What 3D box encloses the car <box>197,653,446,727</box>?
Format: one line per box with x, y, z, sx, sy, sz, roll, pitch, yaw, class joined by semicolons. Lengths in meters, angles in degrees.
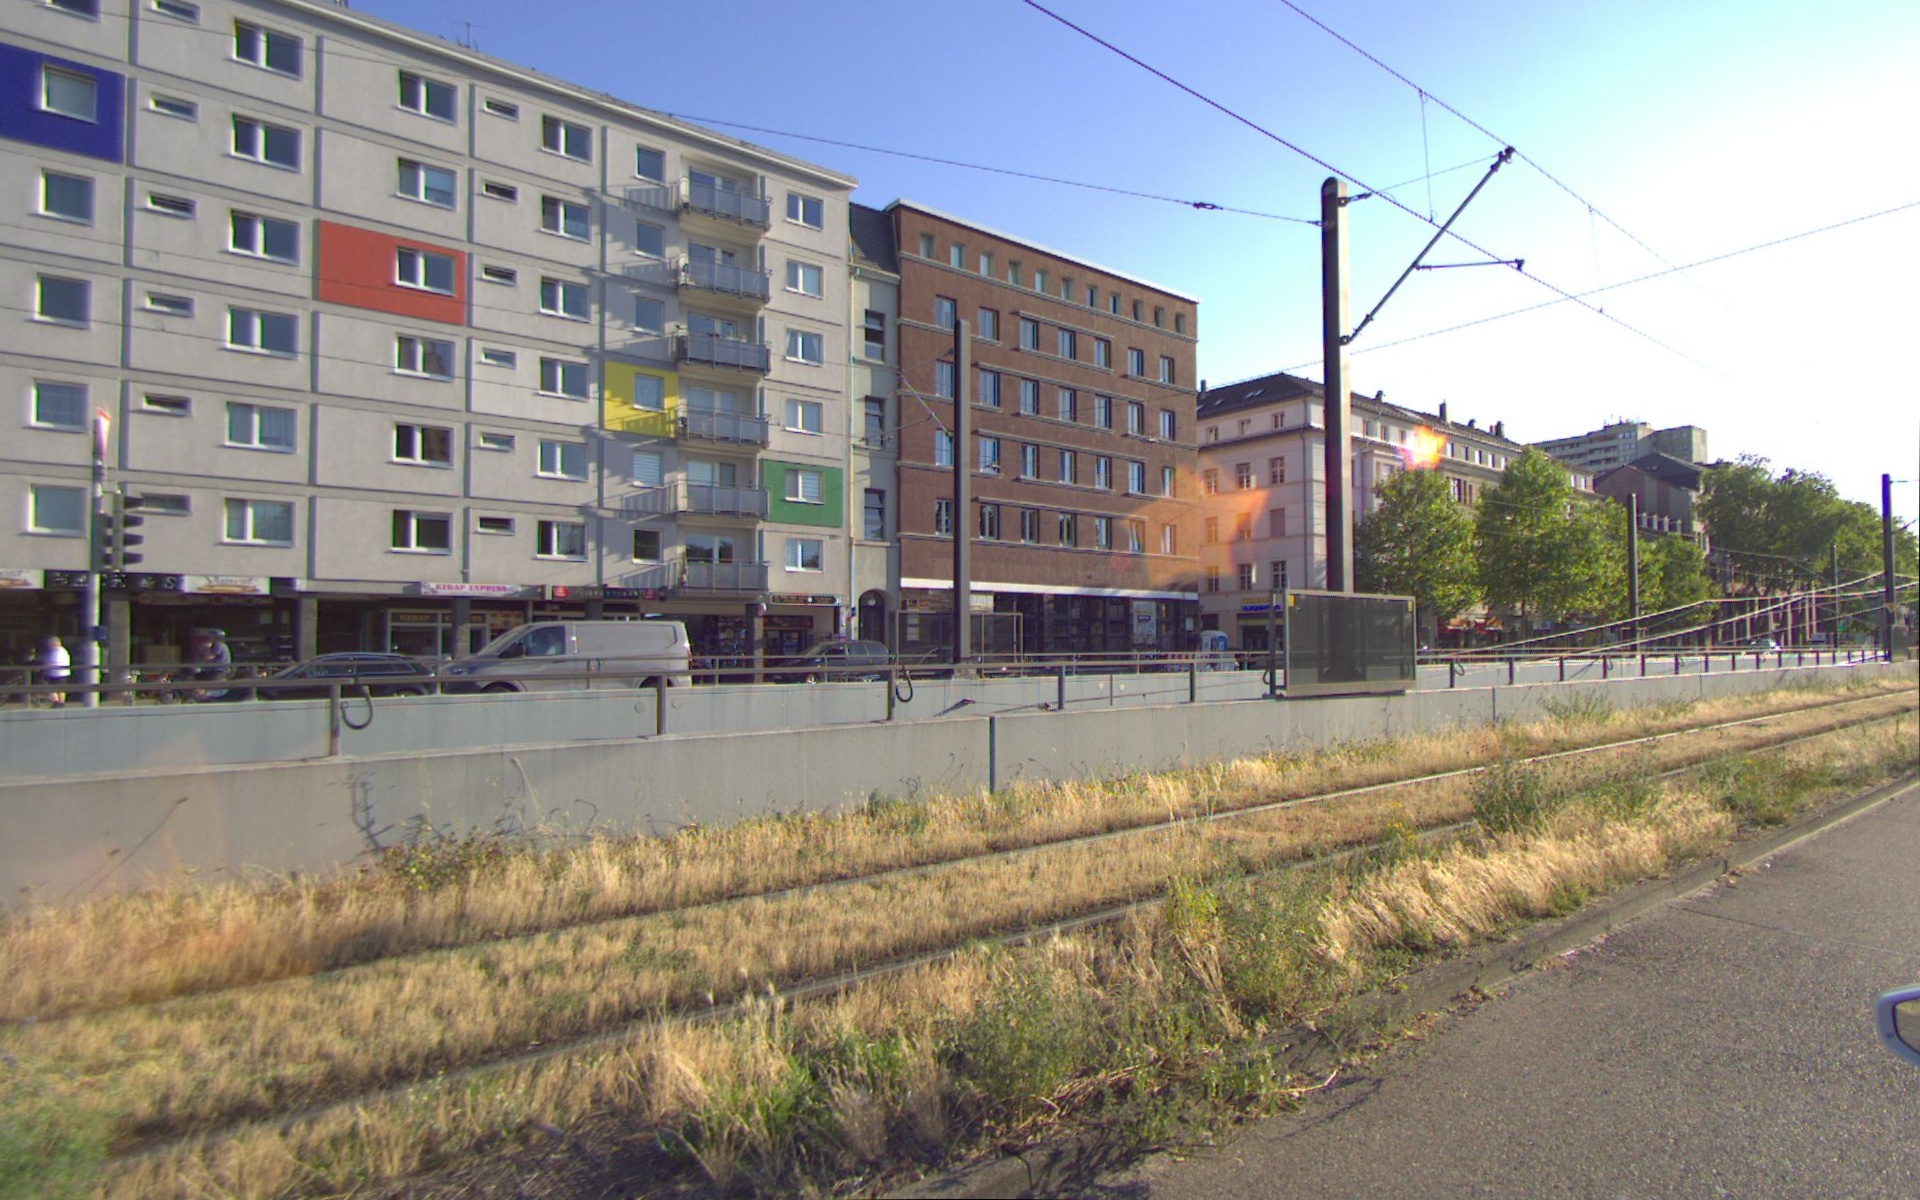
-13.097;1.781;20.716;4.165;1.330;1.781;2;-3;-39;car

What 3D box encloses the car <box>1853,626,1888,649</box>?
81.345;3.361;89.722;3.972;2.040;1.975;2;-3;-43;car

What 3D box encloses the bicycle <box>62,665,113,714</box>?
-20.895;2.120;24.096;0.730;1.065;2.276;2;-3;-37;bicycle

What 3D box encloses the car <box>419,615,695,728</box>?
-8.132;1.396;20.560;4.897;2.040;1.978;2;-3;-39;car

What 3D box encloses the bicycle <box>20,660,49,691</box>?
-31.258;2.538;33.921;1.674;1.012;0.623;-2;-3;44;bicycle

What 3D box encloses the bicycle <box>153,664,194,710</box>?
-19.656;2.154;25.131;0.730;1.065;2.276;2;-3;-37;bicycle

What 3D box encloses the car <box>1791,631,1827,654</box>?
84.803;4.231;100.283;3.965;2.274;1.978;2;-3;-39;car

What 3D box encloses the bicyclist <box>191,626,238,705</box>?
-15.755;1.394;21.237;0.731;1.618;0.953;3;-4;-36;bicyclist

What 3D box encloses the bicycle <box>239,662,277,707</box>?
-18.305;2.180;26.157;0.730;1.065;2.276;2;-3;-37;bicycle

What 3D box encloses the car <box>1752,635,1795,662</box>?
61.283;3.643;75.632;3.972;2.040;1.975;2;-3;-43;car

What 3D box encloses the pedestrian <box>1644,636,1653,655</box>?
61.563;4.045;89.844;0.545;1.731;0.486;1;-2;-38;pedestrian

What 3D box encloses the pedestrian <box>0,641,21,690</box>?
-33.784;2.300;35.495;0.646;1.694;0.626;-1;-2;17;pedestrian

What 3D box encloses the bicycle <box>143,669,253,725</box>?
-15.932;2.006;21.065;1.766;1.111;0.942;3;-5;-37;bicycle

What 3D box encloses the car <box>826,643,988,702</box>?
-1.331;1.843;25.963;3.880;1.392;1.782;2;-5;-39;car

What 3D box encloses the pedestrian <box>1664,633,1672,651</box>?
68.451;4.104;97.092;0.545;1.731;0.486;1;-2;-38;pedestrian

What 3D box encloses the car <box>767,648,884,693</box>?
-4.868;2.523;36.718;3.966;1.528;1.677;2;-3;-39;car

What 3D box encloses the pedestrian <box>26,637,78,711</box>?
-22.178;1.804;24.539;0.671;1.745;0.611;-2;-1;4;pedestrian

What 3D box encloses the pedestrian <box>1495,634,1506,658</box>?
40.408;3.435;75.119;0.545;1.731;0.486;1;-2;-38;pedestrian

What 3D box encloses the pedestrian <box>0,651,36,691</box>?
-32.351;2.421;34.403;0.794;1.331;0.626;-1;-2;10;pedestrian

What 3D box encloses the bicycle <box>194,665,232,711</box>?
-19.051;2.219;25.639;0.730;1.065;2.276;2;-3;-37;bicycle

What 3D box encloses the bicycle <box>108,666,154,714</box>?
-20.274;2.174;24.606;0.730;1.065;2.276;2;-3;-37;bicycle

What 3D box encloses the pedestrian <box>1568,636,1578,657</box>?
50.640;3.868;82.945;0.545;1.731;0.486;1;-2;-38;pedestrian

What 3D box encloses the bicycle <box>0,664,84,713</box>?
-22.723;2.153;24.635;0.509;1.106;2.068;0;-2;5;bicycle

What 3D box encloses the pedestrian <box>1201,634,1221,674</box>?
12.785;2.750;51.113;0.722;2.040;0.711;1;-2;-40;pedestrian
